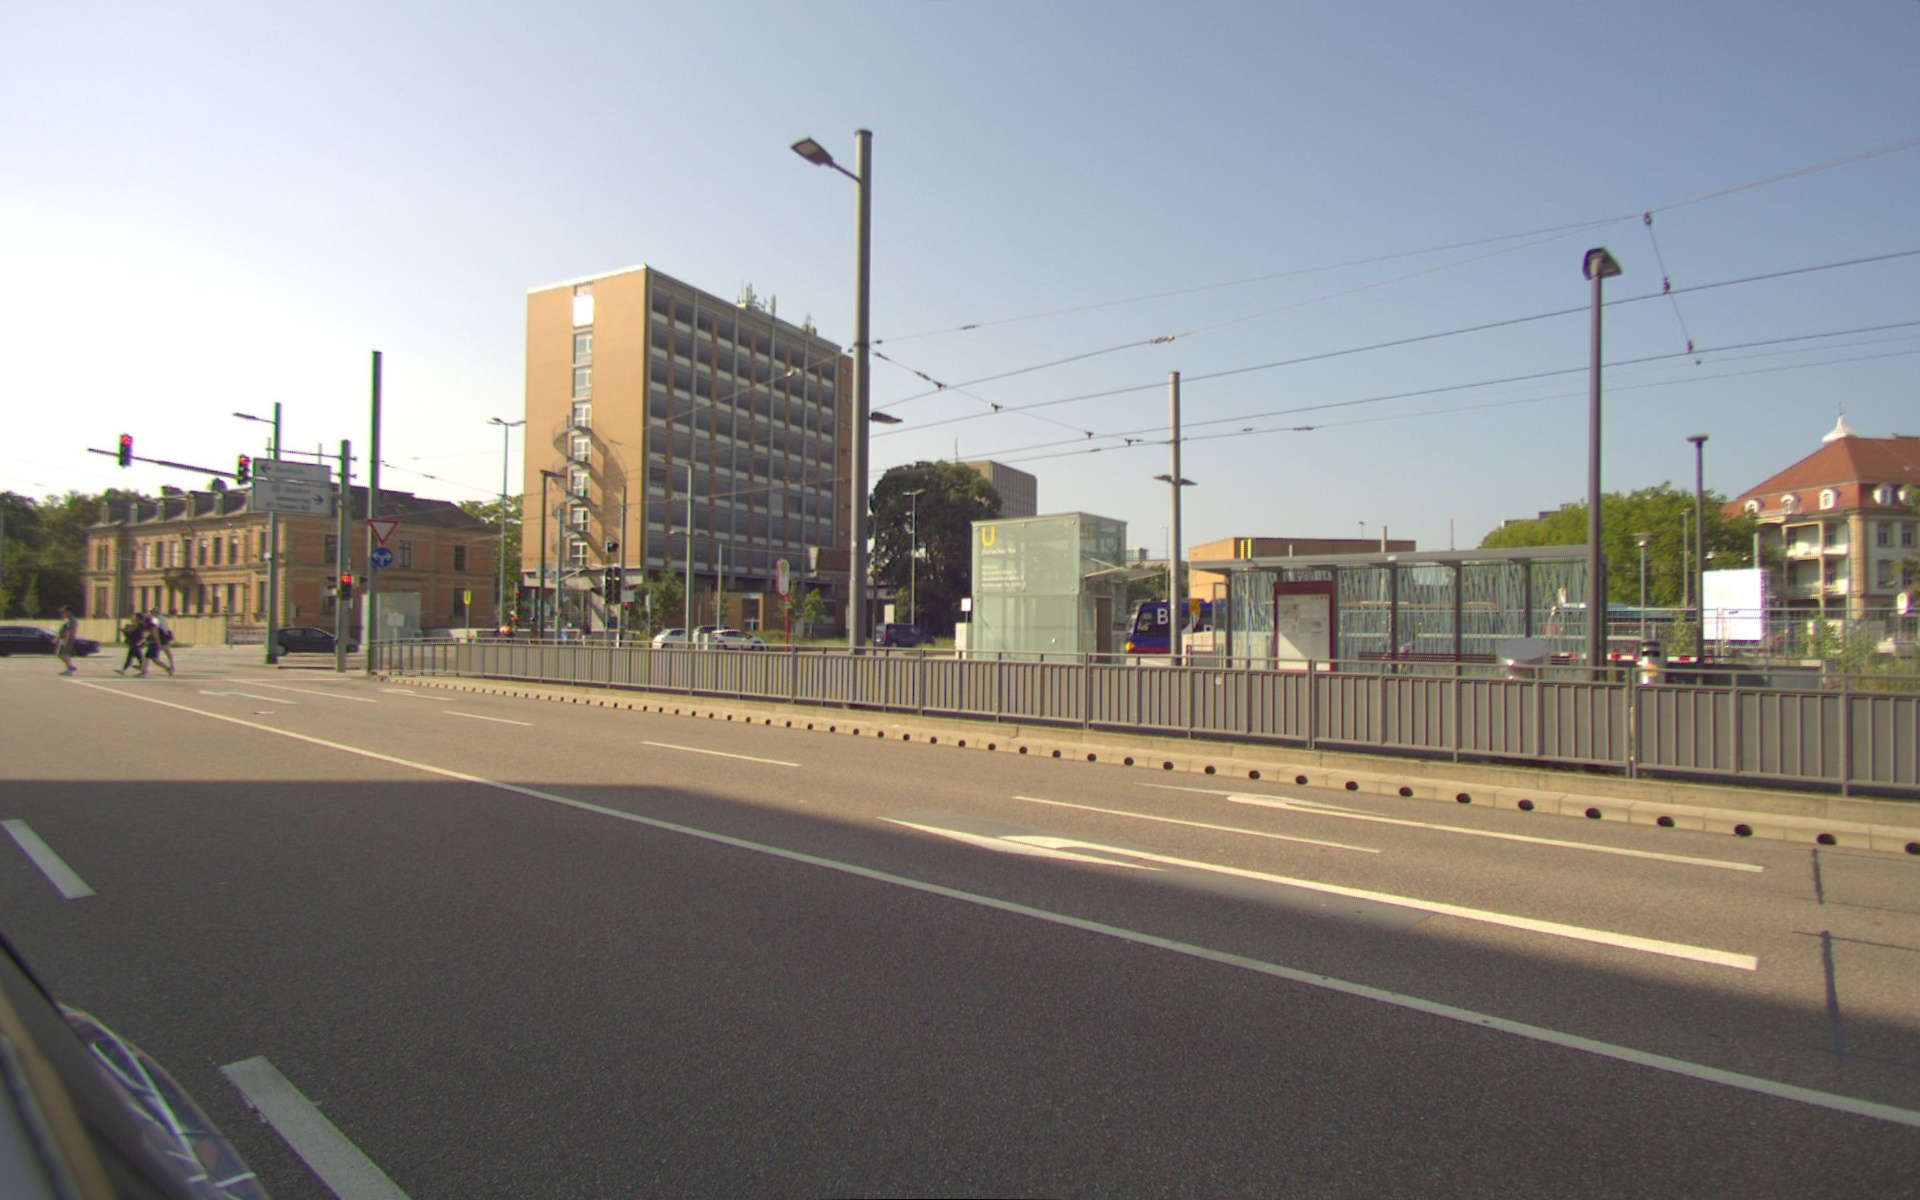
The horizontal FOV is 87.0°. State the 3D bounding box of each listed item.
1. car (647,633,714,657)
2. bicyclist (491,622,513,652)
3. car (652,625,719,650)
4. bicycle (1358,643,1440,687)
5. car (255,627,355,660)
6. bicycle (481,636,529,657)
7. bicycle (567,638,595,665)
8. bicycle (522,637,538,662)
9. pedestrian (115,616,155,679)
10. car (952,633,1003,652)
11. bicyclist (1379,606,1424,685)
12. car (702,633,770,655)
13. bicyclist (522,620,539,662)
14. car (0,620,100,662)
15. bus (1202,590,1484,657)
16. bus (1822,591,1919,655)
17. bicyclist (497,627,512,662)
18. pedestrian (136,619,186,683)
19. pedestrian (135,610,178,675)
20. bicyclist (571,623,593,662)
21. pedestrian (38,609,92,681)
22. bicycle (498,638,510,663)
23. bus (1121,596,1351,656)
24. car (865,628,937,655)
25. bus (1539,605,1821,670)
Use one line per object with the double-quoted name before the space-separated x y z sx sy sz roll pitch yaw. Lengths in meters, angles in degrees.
"car" -16.763 2.704 60.800 3.553 1.426 1.809 1 -3 -29
"bicyclist" -22.777 1.834 50.341 0.955 1.486 1.091 2 -2 -24
"car" -19.513 2.702 72.017 4.217 1.720 1.957 2 -5 -33
"bicycle" 10.038 1.470 23.194 1.695 0.961 0.346 -2 -3 42
"car" -32.706 2.176 50.658 3.930 1.608 2.006 1 -2 -26
"bicycle" -22.682 2.320 50.447 2.159 0.997 0.531 2 -2 -24
"bicycle" -16.249 2.197 43.415 1.747 1.118 0.397 -2 -3 44
"bicycle" -20.915 2.408 49.254 0.371 1.174 1.864 1 -3 -33
"pedestrian" -21.448 1.236 26.313 0.467 1.610 0.626 -1 -5 39
"car" 1.330 3.253 77.542 3.495 1.446 1.809 1 -3 -29
"bicyclist" 10.067 1.037 23.059 0.819 1.760 0.481 -2 -3 42
"car" -14.590 2.852 65.971 3.931 1.426 1.809 1 -3 -28
"bicyclist" -20.845 1.987 49.085 0.571 1.989 0.809 1 -3 -34
"car" -42.168 1.852 45.814 4.496 1.866 2.006 1 -2 -27
"bus" 19.079 1.218 50.740 13.108 3.203 3.230 1 -2 -6
"bus" 55.758 1.340 56.497 13.112 3.445 3.229 0 -2 -5
"bicyclist" -21.689 2.123 48.185 0.503 1.642 0.809 1 -3 -34
"pedestrian" -19.880 1.266 25.171 0.548 1.559 0.799 -1 -5 42
"pedestrian" -22.993 1.231 28.951 0.822 1.802 0.730 5 -5 -41
"bicyclist" -16.239 1.828 43.451 0.790 1.669 0.581 -2 -3 41
"pedestrian" -21.989 1.110 24.858 0.651 1.706 0.805 -1 -5 41
"bicycle" -21.716 2.385 48.192 0.306 1.174 1.503 1 -3 -33
"bus" 16.654 1.622 61.564 13.112 3.445 3.229 0 -2 -5
"car" -4.085 2.907 70.349 4.690 1.842 1.809 1 -3 -26
"bus" 37.335 1.986 52.615 13.107 3.203 3.230 1 -2 -7
